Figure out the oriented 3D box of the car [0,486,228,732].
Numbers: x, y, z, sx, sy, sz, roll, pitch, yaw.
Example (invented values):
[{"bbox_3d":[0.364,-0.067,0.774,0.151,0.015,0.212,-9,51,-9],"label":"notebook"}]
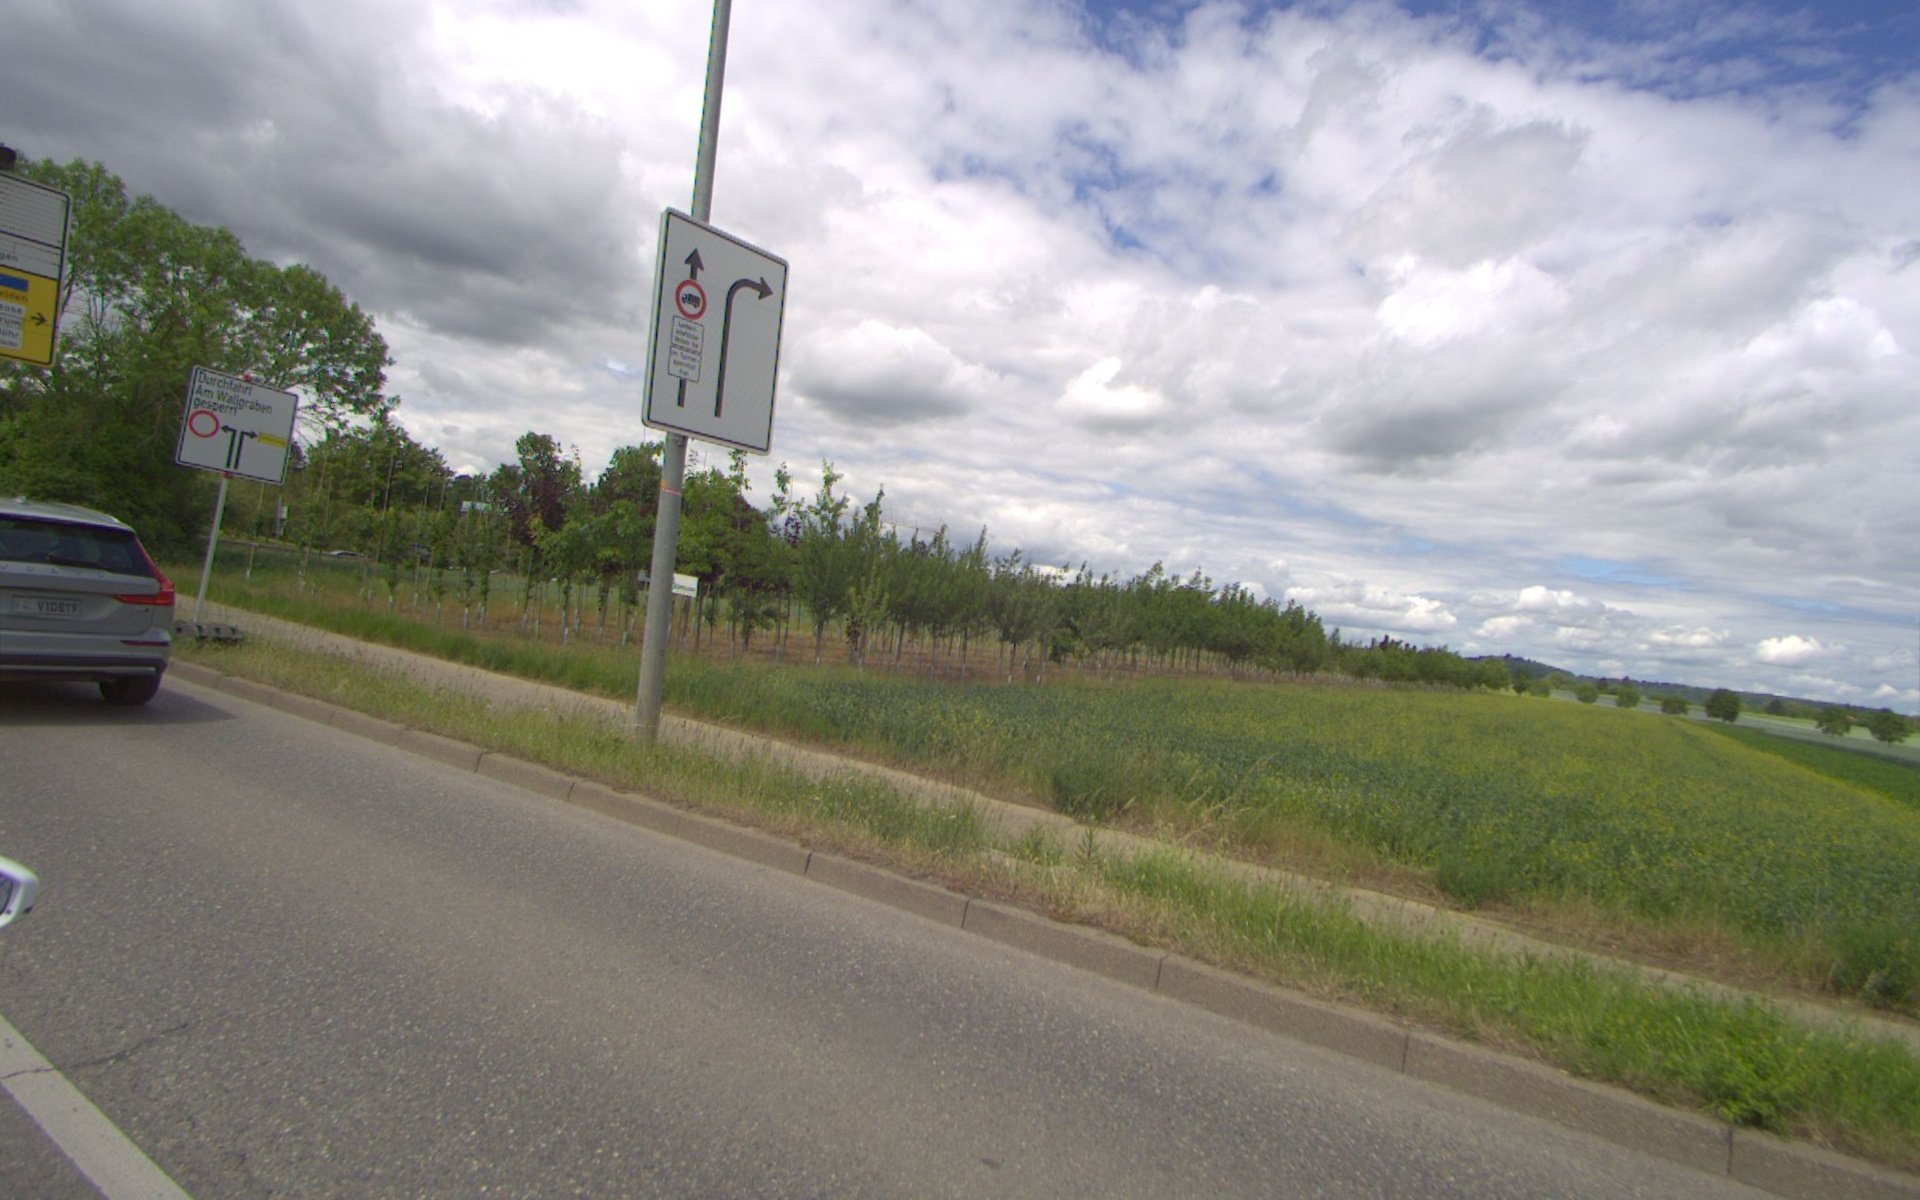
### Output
[{"bbox_3d":[-7.713,-0.145,7.604,4.371,1.537,1.865,7,0,31],"label":"car"}]
